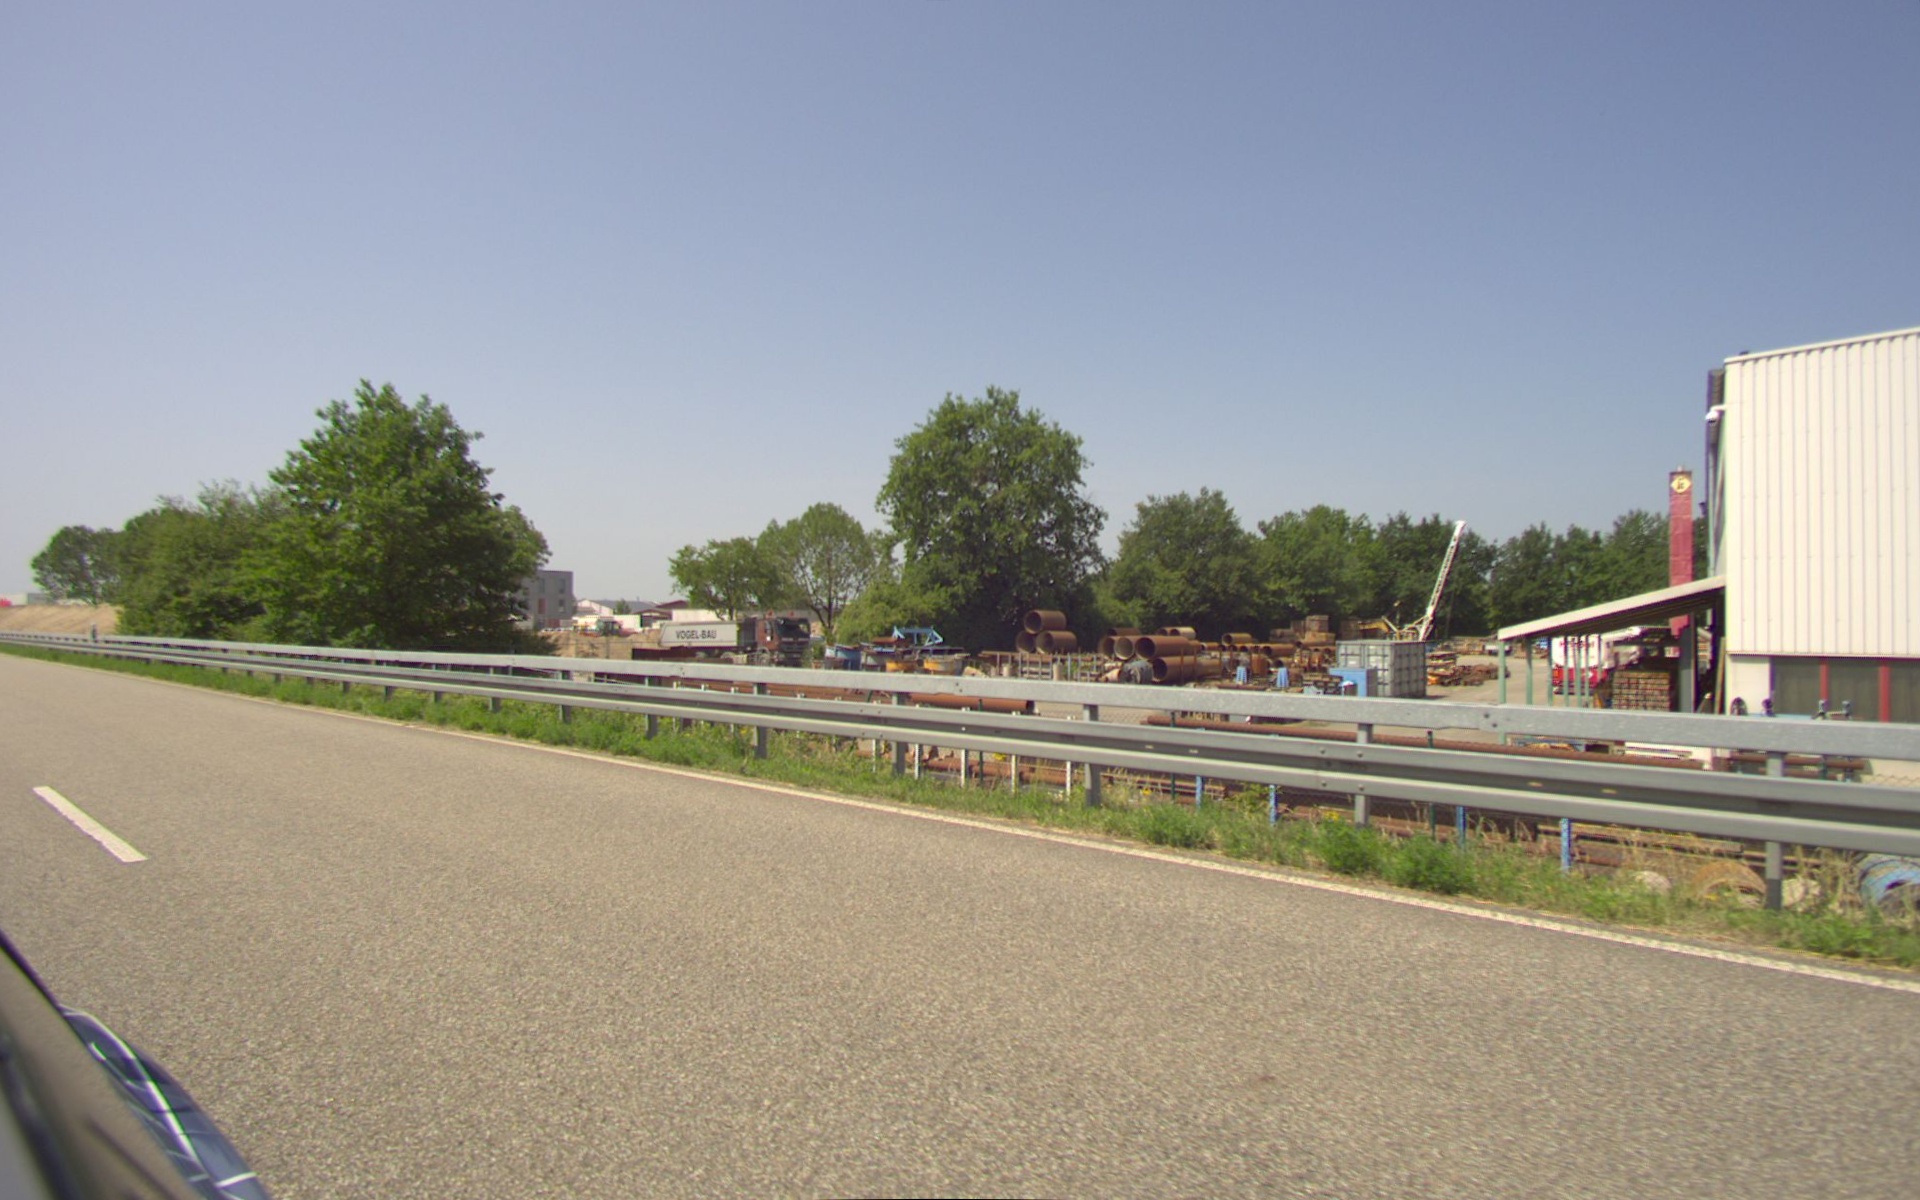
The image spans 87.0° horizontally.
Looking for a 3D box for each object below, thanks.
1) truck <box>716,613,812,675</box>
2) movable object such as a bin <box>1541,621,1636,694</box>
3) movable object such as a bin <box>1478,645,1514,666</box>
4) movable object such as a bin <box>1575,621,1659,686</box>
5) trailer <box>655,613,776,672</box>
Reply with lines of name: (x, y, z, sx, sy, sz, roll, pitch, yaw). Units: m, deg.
truck: (-11.127, 2.393, 57.182, 2.411, 3.248, 5.887, -1, 0, -45)
movable object such as a bin: (31.823, 2.793, 51.134, 3.187, 3.406, 6.039, -1, -1, 41)
movable object such as a bin: (53.797, 5.549, 101.542, 2.945, 2.029, 1.366, -2, -5, 44)
movable object such as a bin: (37.082, 2.901, 57.032, 3.186, 3.406, 7.048, -1, -1, 39)
trailer: (-14.745, 2.454, 60.524, 8.803, 3.248, 2.414, -1, 0, 41)
